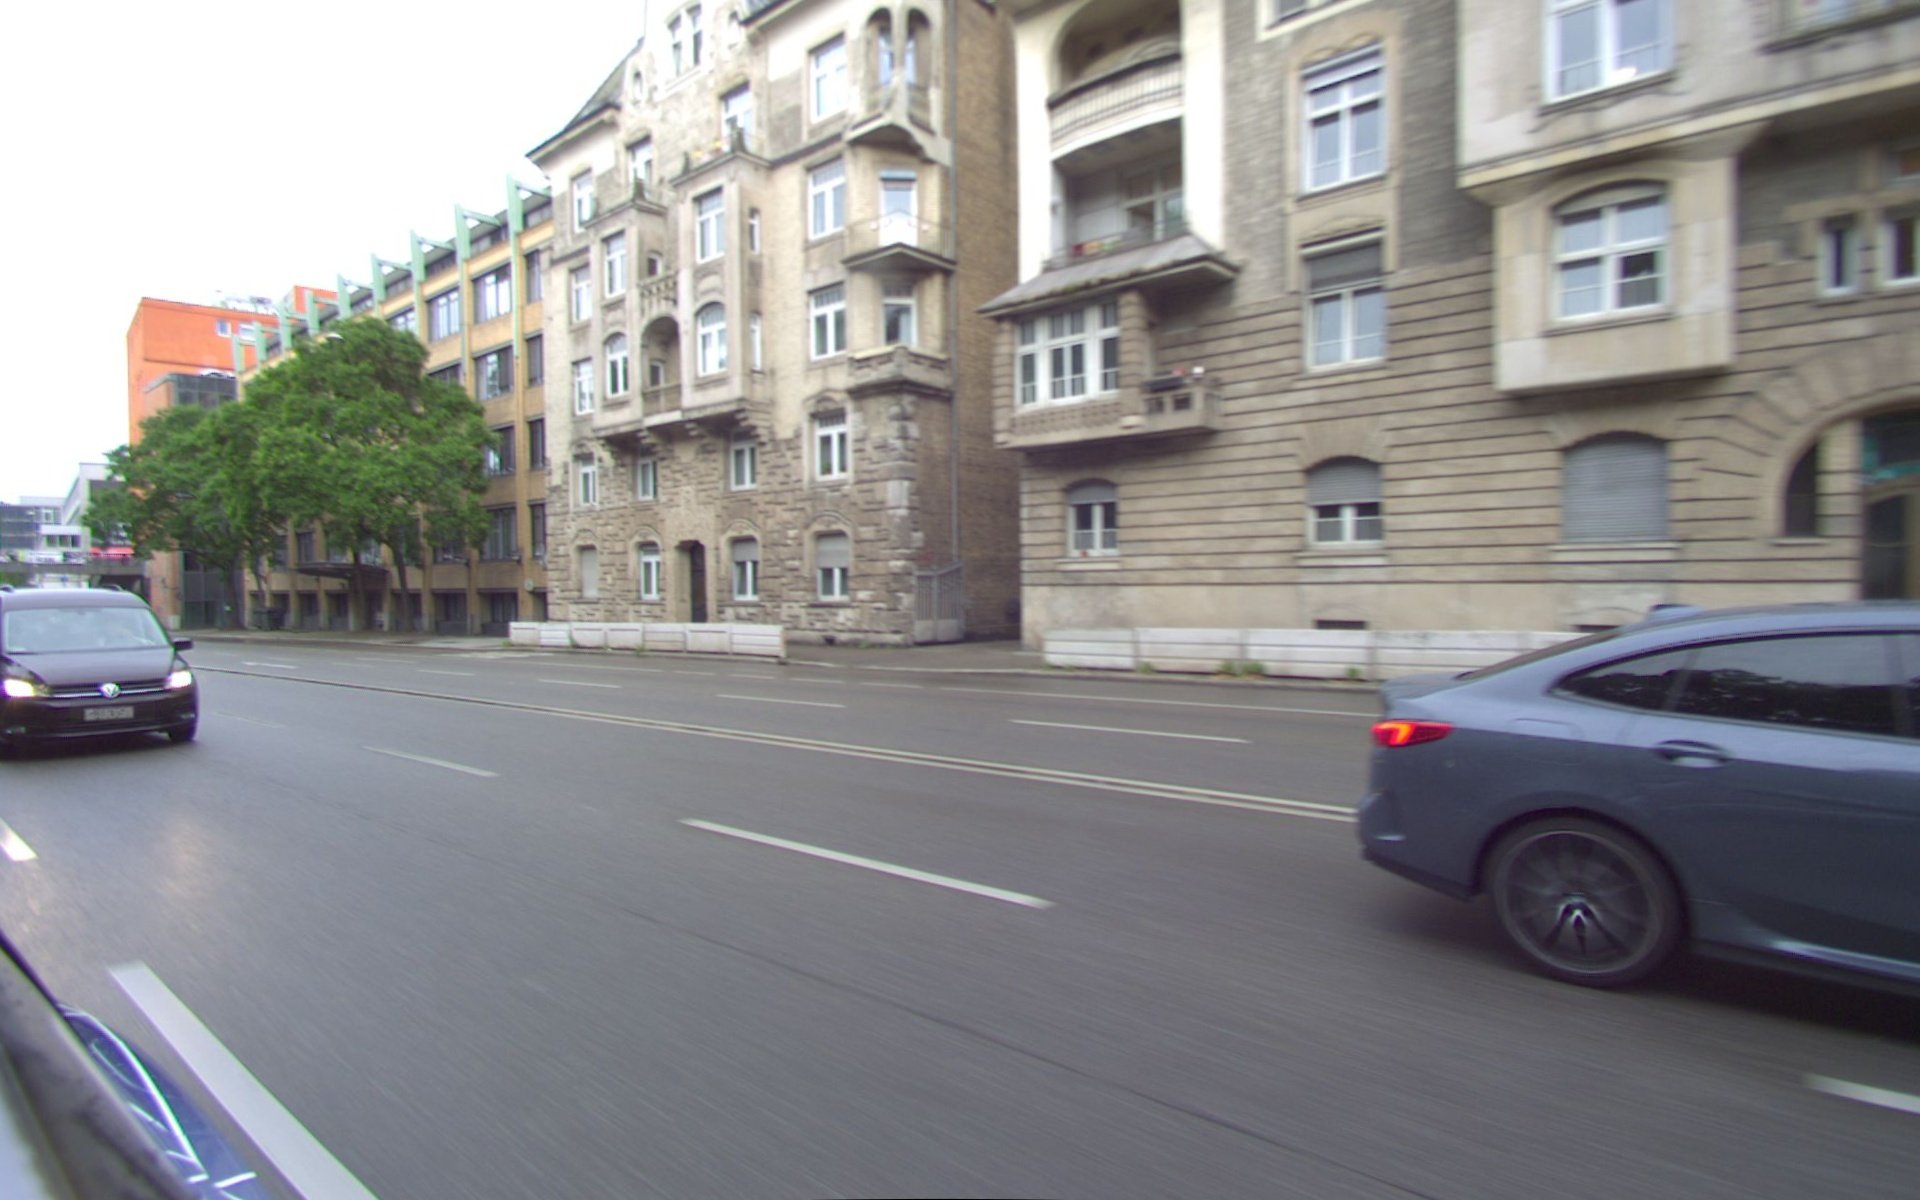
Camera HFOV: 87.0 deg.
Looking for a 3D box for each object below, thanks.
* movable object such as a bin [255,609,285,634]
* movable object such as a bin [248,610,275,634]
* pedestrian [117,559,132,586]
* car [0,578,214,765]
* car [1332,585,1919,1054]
[{"bbox_3d":[-42.333,1.327,62.103,1.369,1.446,1.059,-2,2,35],"label":"movable object such as a bin"},{"bbox_3d":[-43.419,1.362,62.908,1.311,1.446,0.965,-2,2,35],"label":"movable object such as a bin"},{"bbox_3d":[-72.183,-2.363,87.432,0.737,2.271,0.823,0,0,34],"label":"pedestrian"},{"bbox_3d":[-10.266,0.728,11.643,3.996,1.804,1.819,-2,-1,40],"label":"car"},{"bbox_3d":[3.821,0.658,3.407,4.536,1.425,1.648,-1,0,40],"label":"car"}]
